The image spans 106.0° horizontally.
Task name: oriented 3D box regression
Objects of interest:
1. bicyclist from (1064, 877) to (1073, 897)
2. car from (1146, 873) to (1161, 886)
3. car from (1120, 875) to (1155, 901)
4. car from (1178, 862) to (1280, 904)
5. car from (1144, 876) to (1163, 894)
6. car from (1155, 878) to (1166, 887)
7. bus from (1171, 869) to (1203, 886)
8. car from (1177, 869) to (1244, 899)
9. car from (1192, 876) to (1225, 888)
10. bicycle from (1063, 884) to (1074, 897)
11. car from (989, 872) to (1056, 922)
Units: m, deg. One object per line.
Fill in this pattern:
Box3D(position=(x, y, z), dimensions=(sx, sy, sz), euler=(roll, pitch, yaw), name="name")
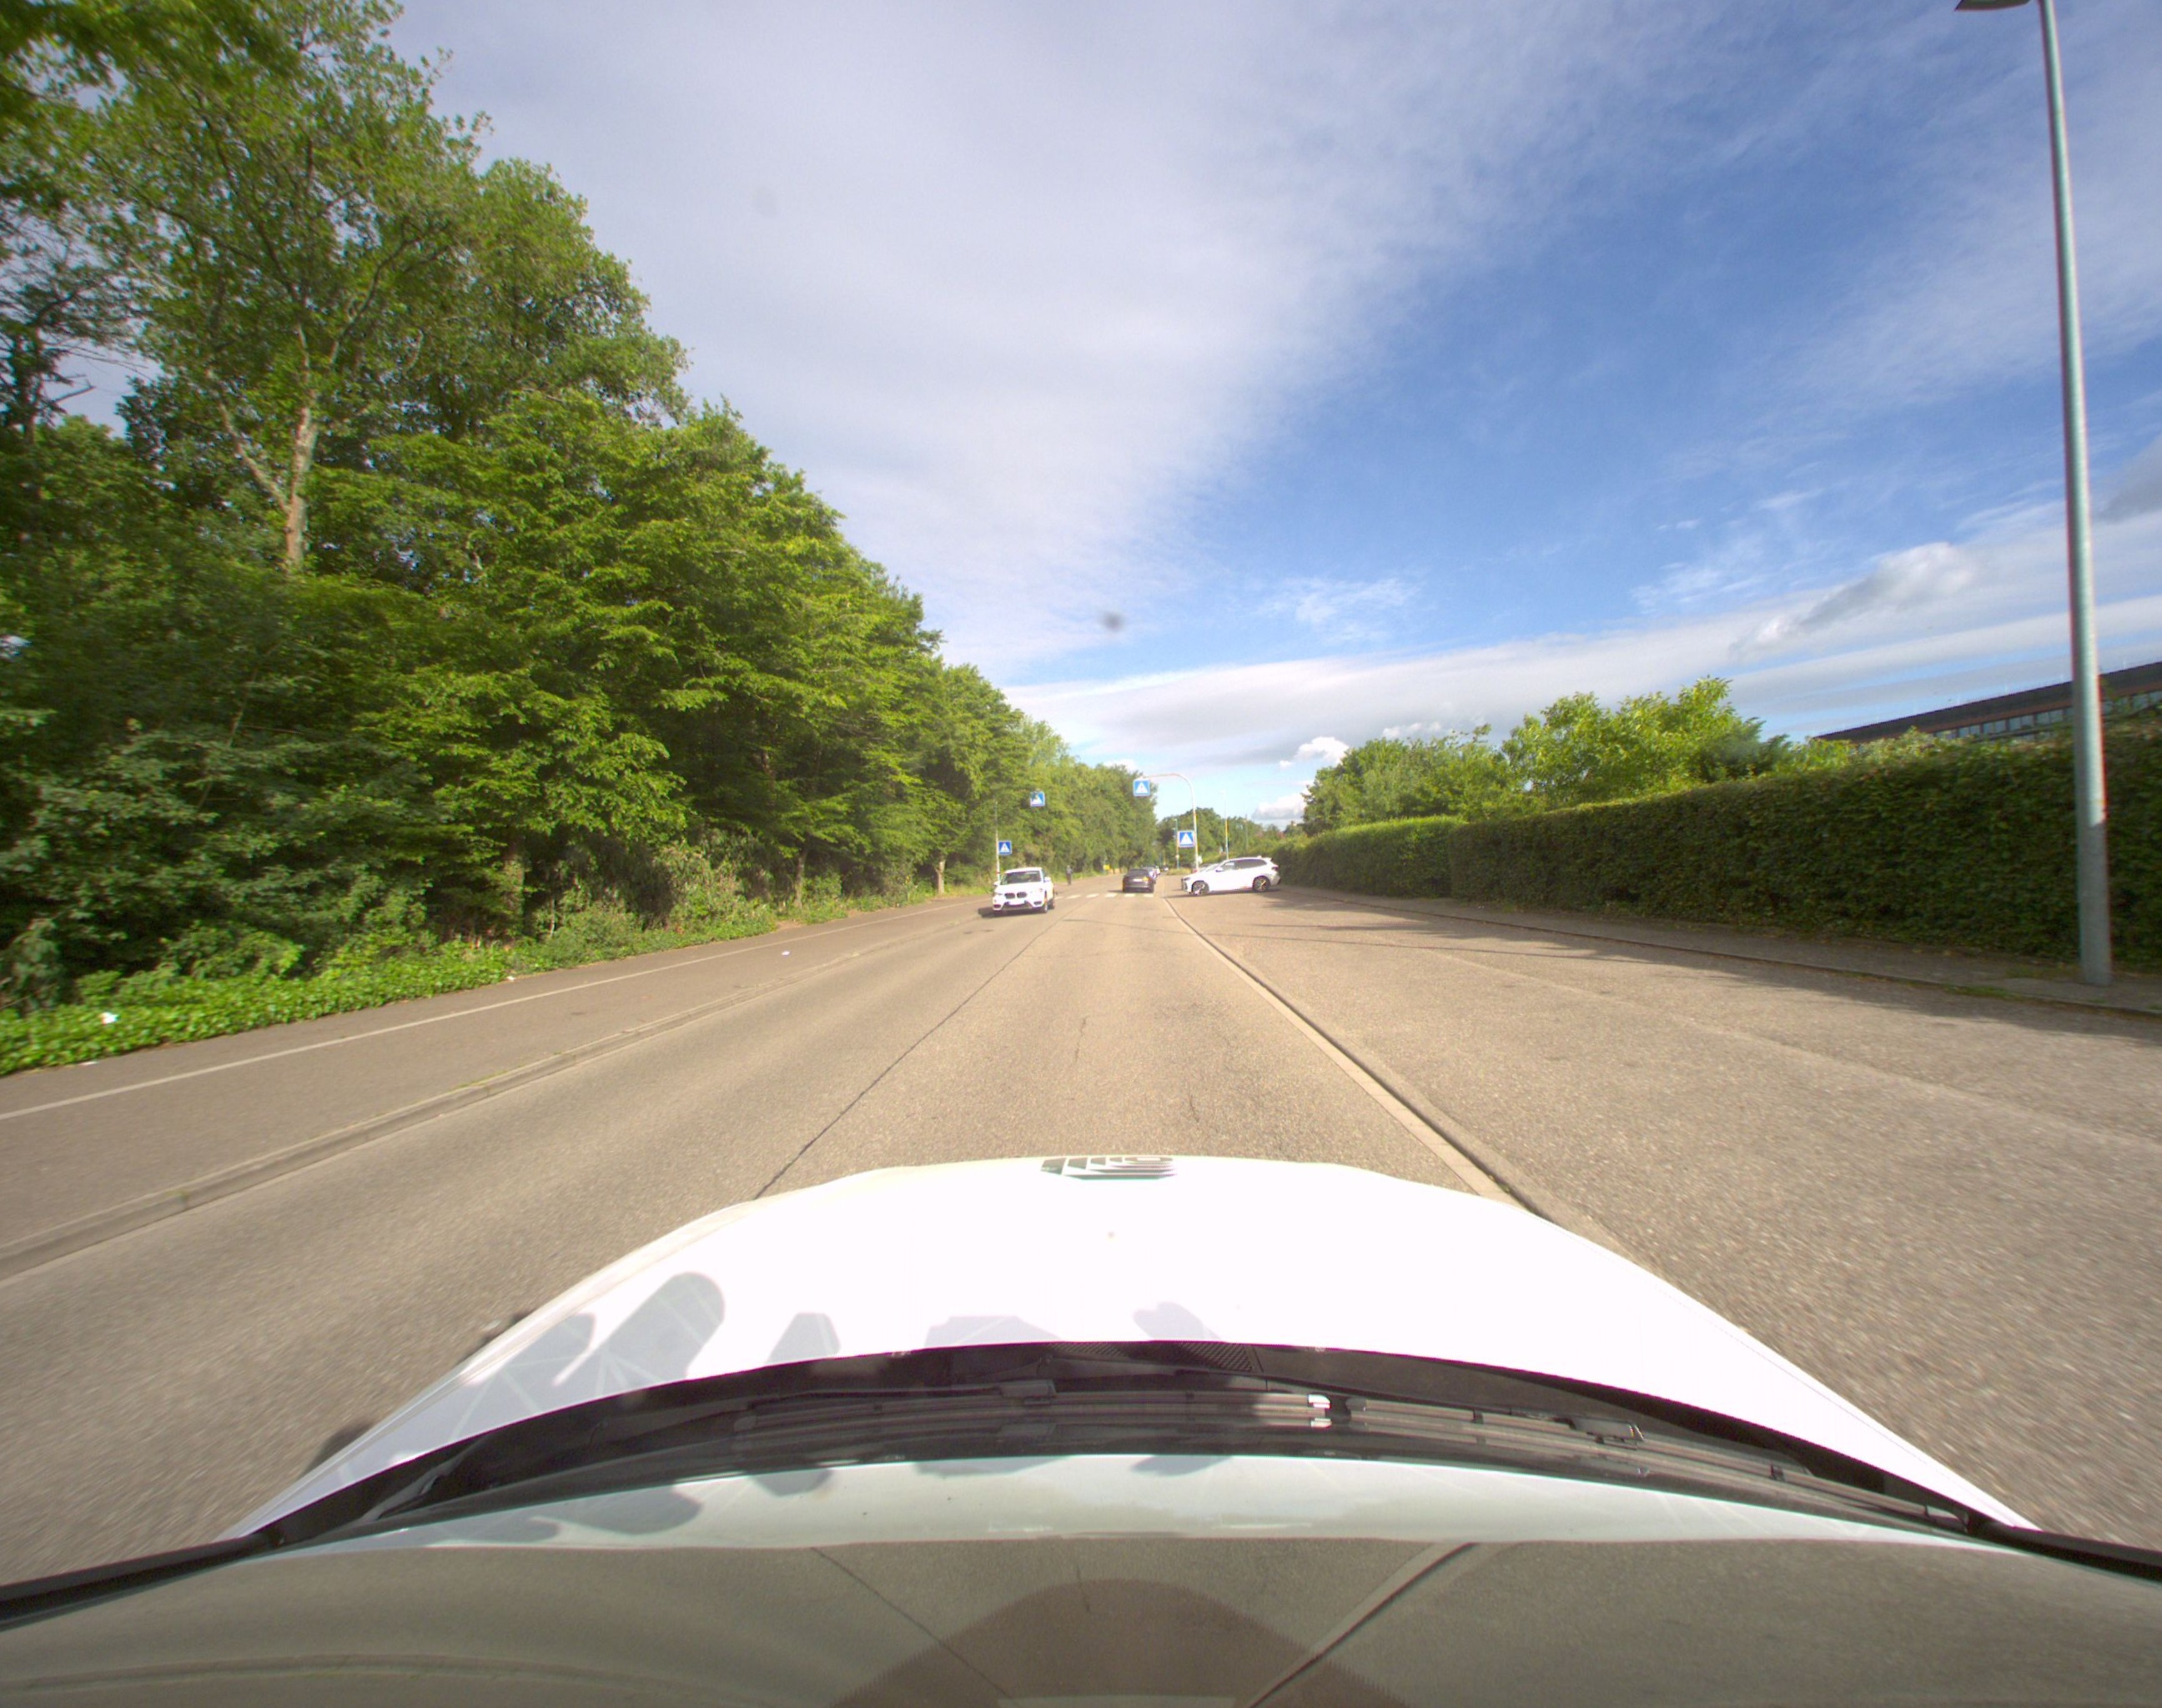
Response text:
Box3D(position=(-1.070, 2.780, 69.398), dimensions=(0.605, 1.677, 0.885), euler=(0, -2, 6), name="bicyclist")
Box3D(position=(7.653, 2.671, 86.323), dimensions=(1.487, 1.304, 3.267), euler=(-2, -2, 6), name="car")
Box3D(position=(3.403, 2.020, 48.797), dimensions=(1.957, 1.435, 4.340), euler=(0, -2, 4), name="car")
Box3D(position=(6.974, 1.388, 38.787), dimensions=(4.565, 1.700, 1.766), euler=(-3, -2, 6), name="car")
Box3D(position=(5.979, 2.554, 67.643), dimensions=(1.488, 1.366, 3.266), euler=(-2, -2, 4), name="car")
Box3D(position=(13.125, 4.744, 134.318), dimensions=(1.486, 1.366, 3.269), euler=(-2, -2, 9), name="car")
Box3D(position=(18.723, 4.200, 143.882), dimensions=(5.343, 2.747, 2.070), euler=(-3, -2, 3), name="bus")
Box3D(position=(7.874, 1.813, 49.841), dimensions=(3.840, 1.490, 1.694), euler=(-5, -1, 4), name="car")
Box3D(position=(17.812, 3.934, 113.914), dimensions=(4.332, 1.443, 1.939), euler=(-3, -3, 12), name="car")
Box3D(position=(-1.071, 3.085, 69.432), dimensions=(0.659, 1.097, 2.352), euler=(0, -2, 7), name="bicycle")
Box3D(position=(-1.990, 1.498, 28.932), dimensions=(1.794, 1.586, 4.105), euler=(-3, -3, 3), name="car")
